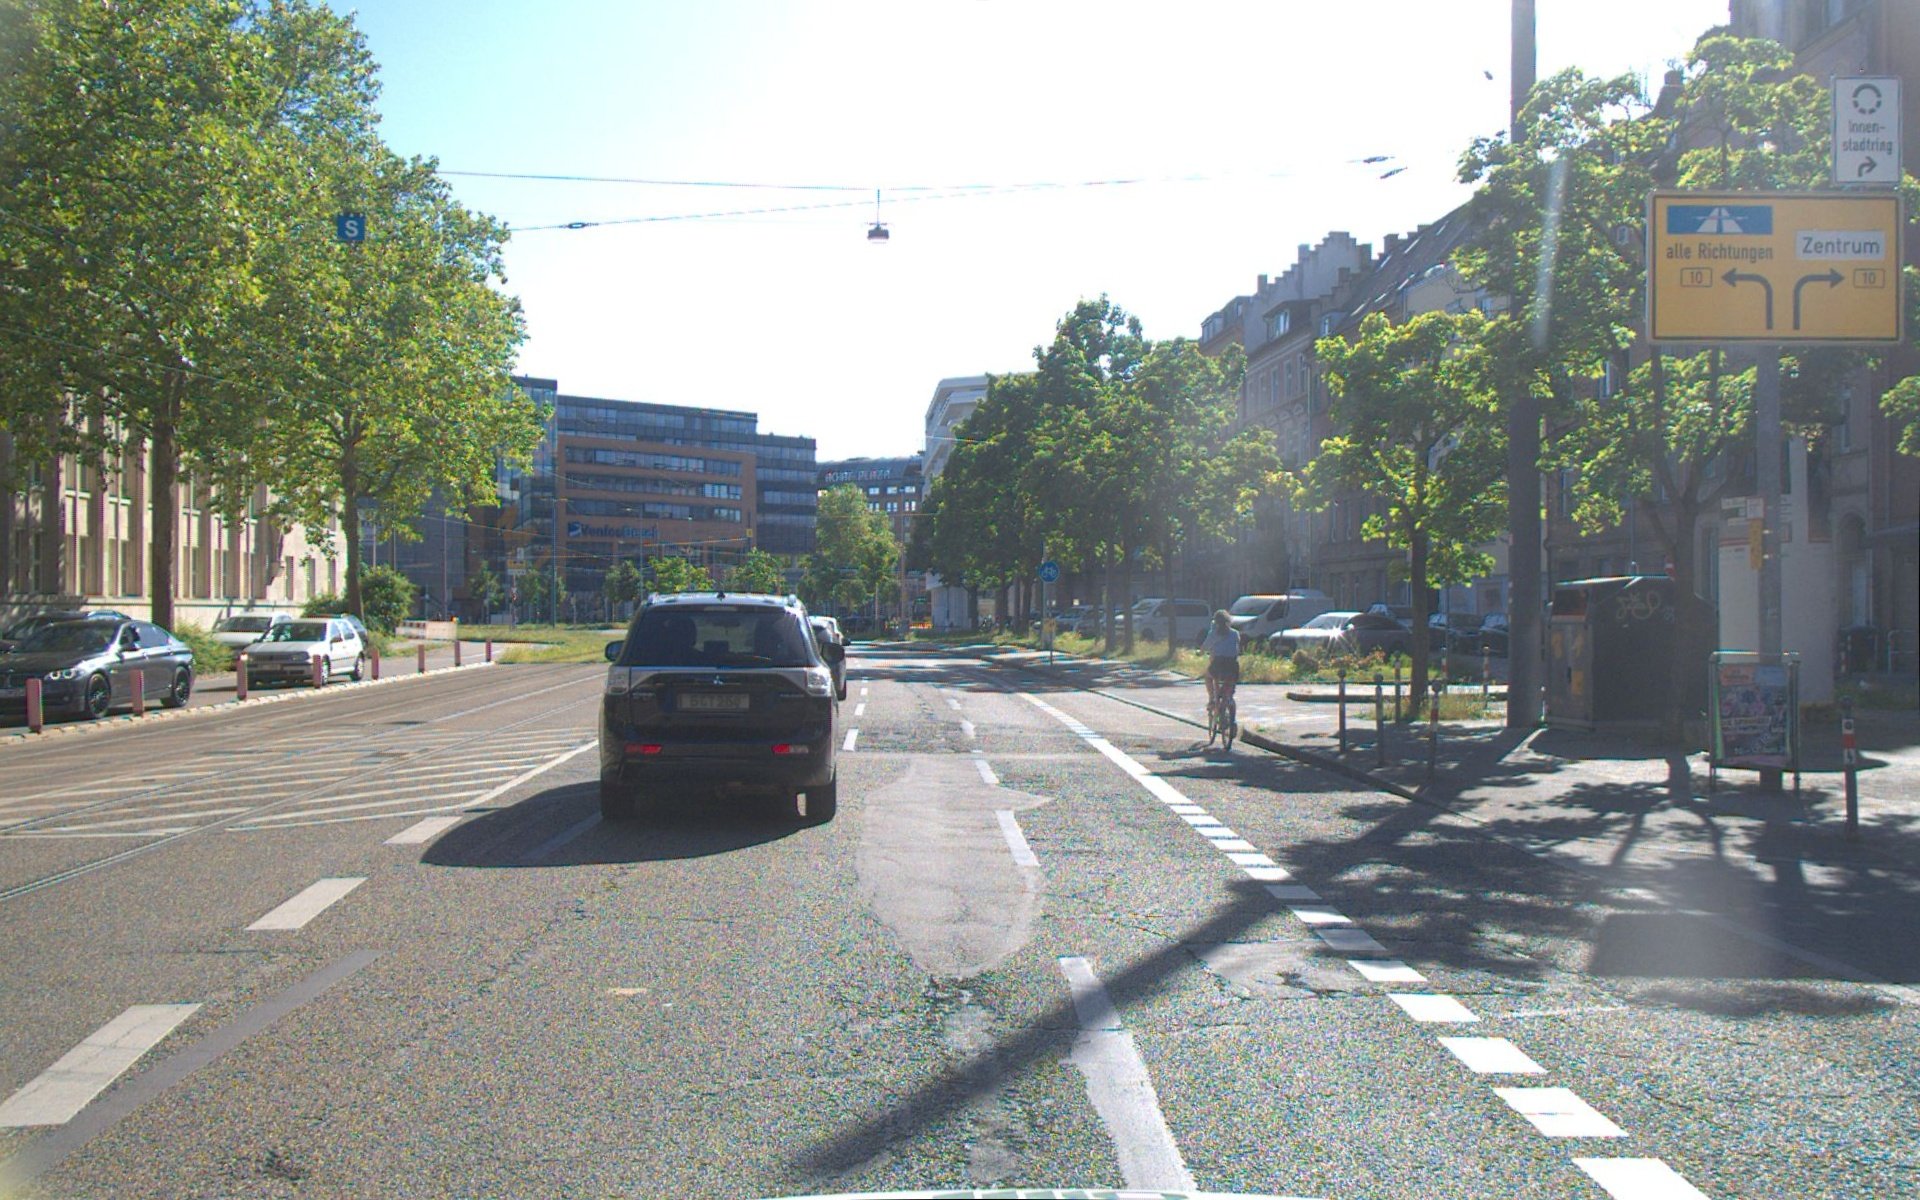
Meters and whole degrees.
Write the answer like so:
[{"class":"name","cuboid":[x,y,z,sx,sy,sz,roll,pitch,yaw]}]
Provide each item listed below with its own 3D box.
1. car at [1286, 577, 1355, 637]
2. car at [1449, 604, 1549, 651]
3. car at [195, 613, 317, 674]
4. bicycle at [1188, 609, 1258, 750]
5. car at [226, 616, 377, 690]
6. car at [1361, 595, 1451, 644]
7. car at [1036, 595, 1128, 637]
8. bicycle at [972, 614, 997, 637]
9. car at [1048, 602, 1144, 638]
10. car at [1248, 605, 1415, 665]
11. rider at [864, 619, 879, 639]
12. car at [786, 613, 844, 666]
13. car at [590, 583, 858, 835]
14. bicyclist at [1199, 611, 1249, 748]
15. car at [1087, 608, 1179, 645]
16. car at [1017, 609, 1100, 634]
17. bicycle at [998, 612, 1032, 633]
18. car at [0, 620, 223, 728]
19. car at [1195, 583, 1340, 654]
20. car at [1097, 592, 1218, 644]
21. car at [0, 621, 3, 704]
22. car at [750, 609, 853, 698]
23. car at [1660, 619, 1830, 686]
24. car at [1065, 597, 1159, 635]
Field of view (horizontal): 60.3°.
[{"class":"car","cuboid":[16.742,0.300,77.027,1.954,2.630,4.510,-2,0,-3]},{"class":"car","cuboid":[18.099,0.900,55.750,1.694,1.445,4.289,-1,0,-4]},{"class":"car","cuboid":[-19.981,1.191,47.131,1.793,1.615,4.392,-1,0,-3]},{"class":"bicycle","cuboid":[3.276,0.953,20.704,0.429,1.667,1.937,-1,0,-4]},{"class":"car","cuboid":[-14.331,1.113,36.252,1.793,1.478,4.168,-1,0,-3]},{"class":"car","cuboid":[17.697,0.743,65.795,1.955,1.831,4.621,-2,0,-5]},{"class":"car","cuboid":[6.668,0.873,90.115,4.833,2.048,2.071,-2,-1,-39]},{"class":"bicycle","cuboid":[1.488,1.538,99.393,0.754,1.312,1.592,-1,0,35]},{"class":"car","cuboid":[7.235,1.048,87.549,4.823,1.676,2.075,-2,-1,-35]},{"class":"car","cuboid":[10.502,0.962,46.597,4.830,1.460,1.993,-2,0,-38]},{"class":"rider","cuboid":[-5.597,1.851,104.940,0.491,1.196,1.677,0,0,12]},{"class":"car","cuboid":[-4.297,1.201,48.996,1.600,1.448,3.777,2,-3,-5]},{"class":"car","cuboid":[-1.835,0.789,13.632,1.800,1.712,4.636,1,-1,-6]},{"class":"bicyclist","cuboid":[3.280,0.973,20.577,0.429,1.667,0.778,-1,0,-4]},{"class":"car","cuboid":[7.814,1.179,74.653,3.990,1.504,1.788,-2,-1,-39]},{"class":"car","cuboid":[5.765,1.254,96.281,4.705,1.404,2.018,0,0,-39]},{"class":"bicycle","cuboid":[3.305,1.374,99.905,1.919,1.213,0.840,-2,-1,-5]},{"class":"car","cuboid":[-13.596,1.095,26.084,1.793,1.478,4.959,-1,0,-1]},{"class":"car","cuboid":[10.081,0.579,54.043,4.834,2.111,1.992,-2,0,-40]},{"class":"car","cuboid":[8.607,0.768,71.876,5.126,2.048,2.075,-2,-1,-35]},{"class":"car","cuboid":[-18.807,1.175,29.321,1.640,1.575,4.183,0,0,-7]},{"class":"car","cuboid":[-2.889,0.996,30.222,1.700,1.448,4.461,2,-3,-5]},{"class":"car","cuboid":[19.169,1.240,40.644,1.953,1.500,4.488,-1,0,-1]},{"class":"car","cuboid":[7.733,0.813,83.983,4.460,1.758,1.976,-2,-1,-35]}]
